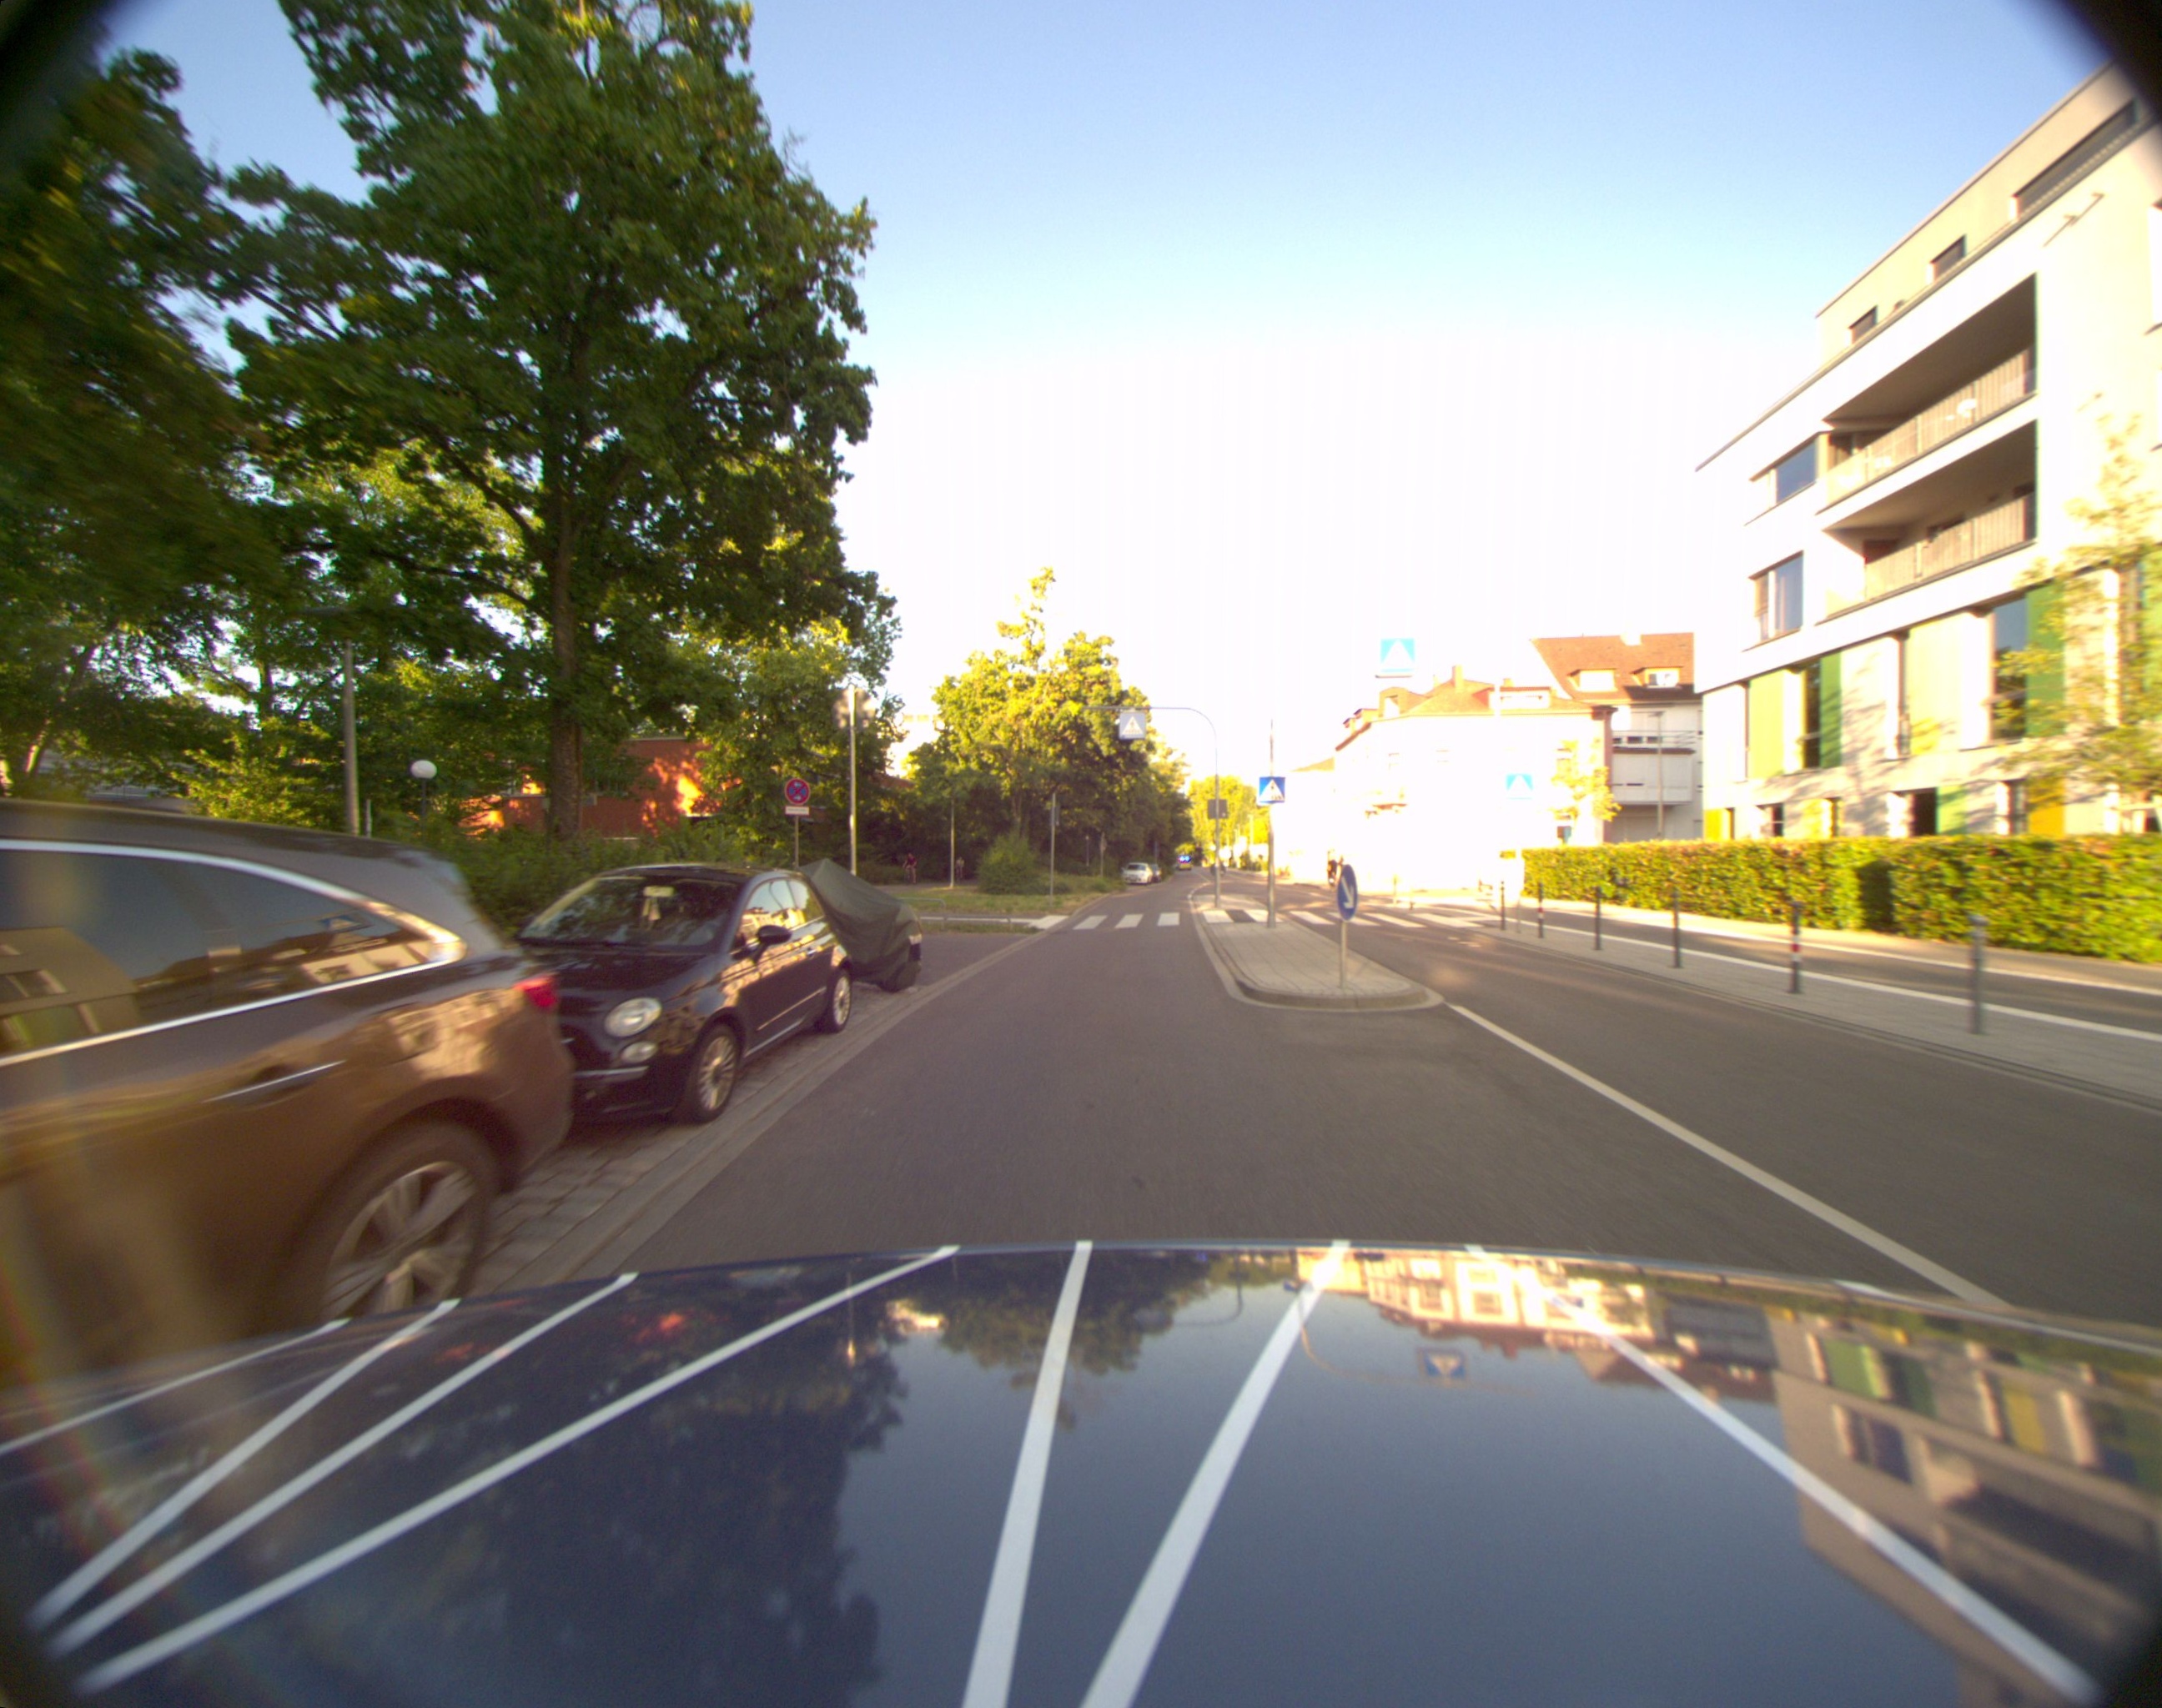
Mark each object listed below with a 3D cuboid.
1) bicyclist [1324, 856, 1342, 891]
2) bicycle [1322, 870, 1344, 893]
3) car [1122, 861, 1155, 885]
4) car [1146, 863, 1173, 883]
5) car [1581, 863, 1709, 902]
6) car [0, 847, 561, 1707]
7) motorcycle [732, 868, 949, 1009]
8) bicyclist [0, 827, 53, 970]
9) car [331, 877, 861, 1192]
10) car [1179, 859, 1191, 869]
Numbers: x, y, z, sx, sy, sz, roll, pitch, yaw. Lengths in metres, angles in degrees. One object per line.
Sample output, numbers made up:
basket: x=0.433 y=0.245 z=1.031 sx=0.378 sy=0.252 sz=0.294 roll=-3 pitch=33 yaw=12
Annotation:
bicyclist: x=11.987 y=0.909 z=36.165 sx=0.628 sy=1.635 sz=0.758 roll=0 pitch=0 yaw=6
bicycle: x=11.990 y=1.297 z=36.199 sx=0.635 sy=1.072 sz=1.884 roll=0 pitch=0 yaw=7
car: x=3.946 y=1.275 z=51.464 sx=1.750 sy=1.478 sz=4.180 roll=2 pitch=0 yaw=11
car: x=6.004 y=1.418 z=57.767 sx=1.751 sy=1.478 sz=4.513 roll=0 pitch=0 yaw=10
car: x=23.707 y=1.164 z=32.075 sx=3.913 sy=1.431 sz=1.818 roll=0 pitch=5 yaw=9
car: x=-2.877 y=0.847 z=0.564 sx=1.927 sy=1.738 sz=4.665 roll=0 pitch=0 yaw=-2
motorcycle: x=-2.883 y=0.956 z=9.209 sx=2.295 sy=1.536 sz=1.041 roll=0 pitch=0 yaw=14
bicyclist: x=-12.619 y=0.514 z=8.766 sx=0.533 sy=1.635 sz=0.725 roll=0 pitch=0 yaw=6
car: x=-2.919 y=0.952 z=5.502 sx=1.624 sy=1.478 sz=3.419 roll=0 pitch=0 yaw=1
car: x=20.499 y=1.994 z=149.666 sx=2.227 sy=2.001 sz=4.894 roll=0 pitch=0 yaw=9
